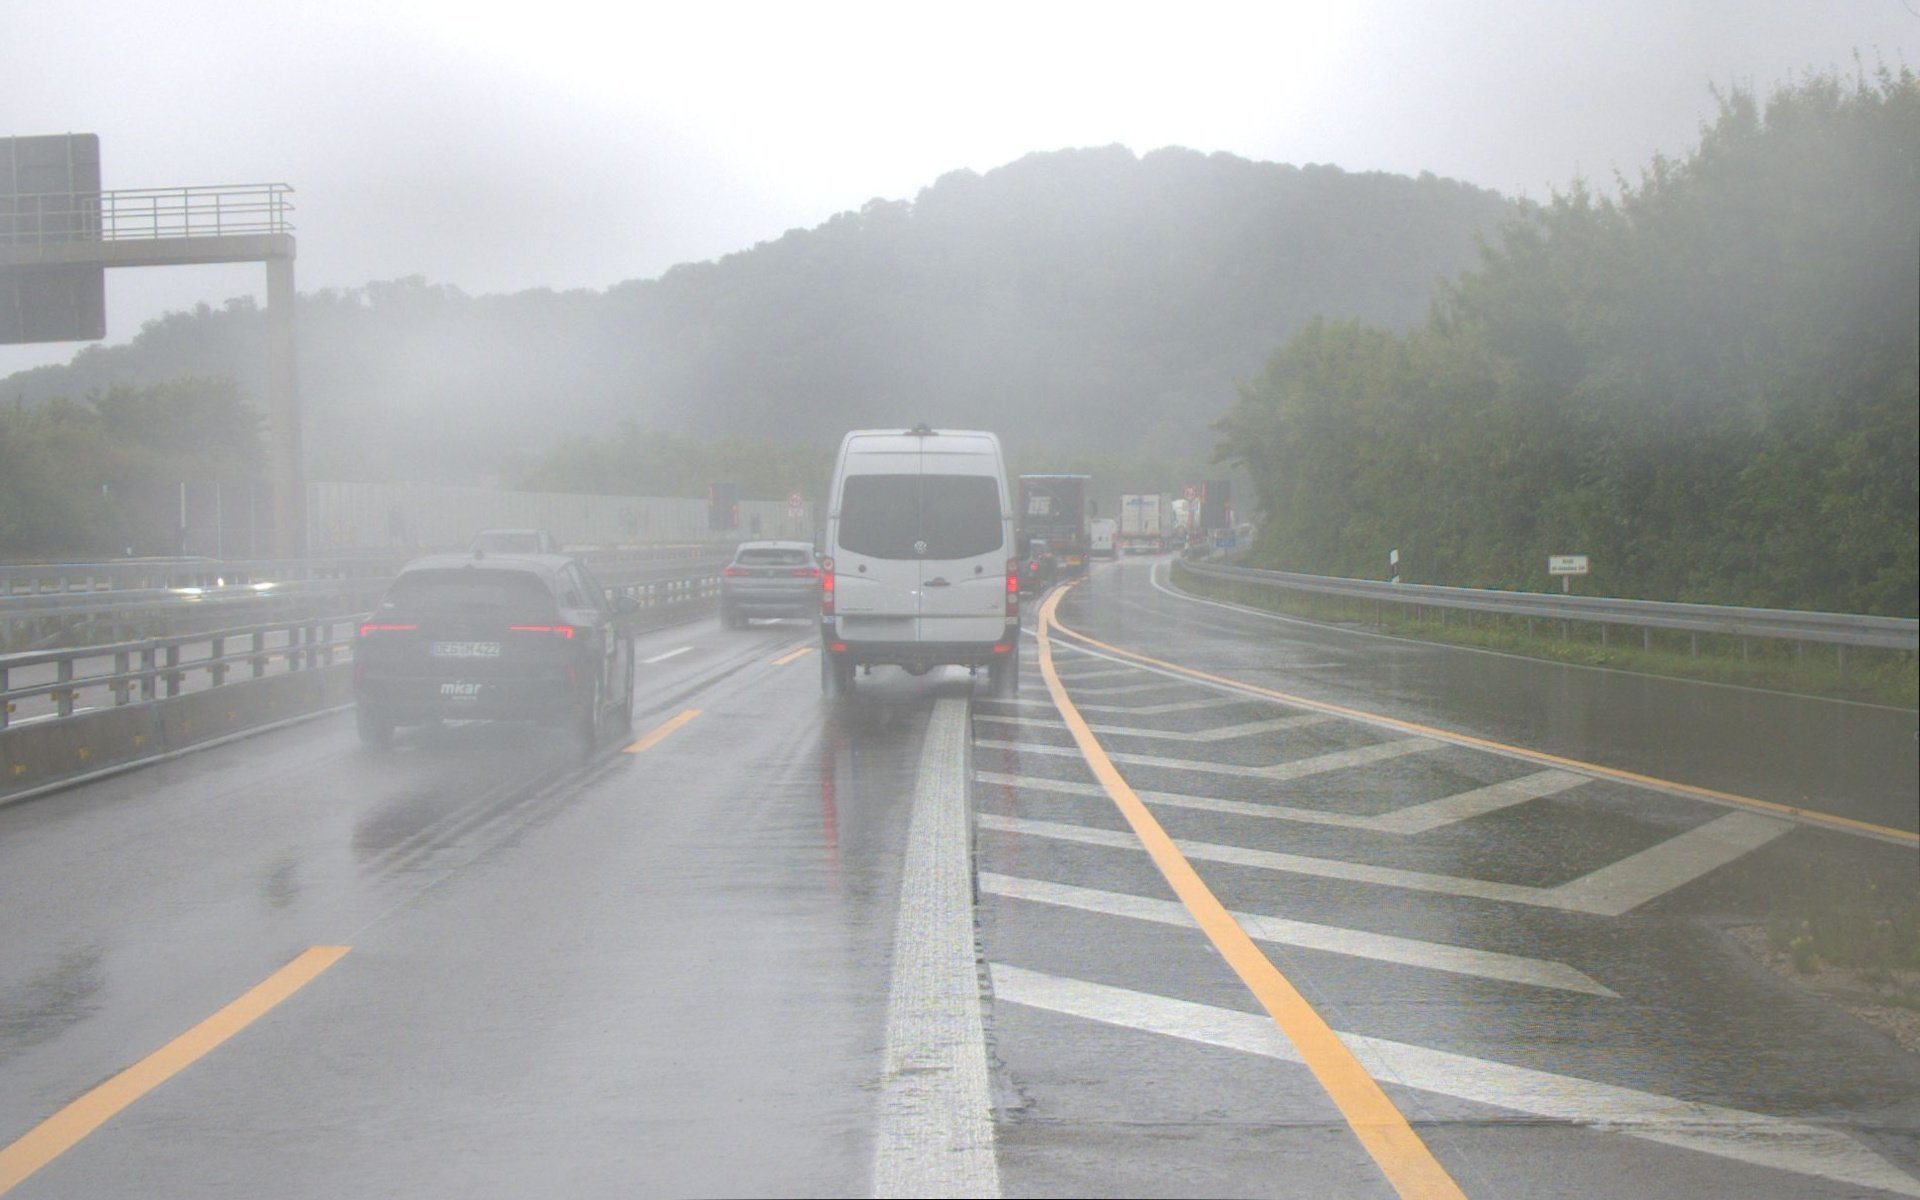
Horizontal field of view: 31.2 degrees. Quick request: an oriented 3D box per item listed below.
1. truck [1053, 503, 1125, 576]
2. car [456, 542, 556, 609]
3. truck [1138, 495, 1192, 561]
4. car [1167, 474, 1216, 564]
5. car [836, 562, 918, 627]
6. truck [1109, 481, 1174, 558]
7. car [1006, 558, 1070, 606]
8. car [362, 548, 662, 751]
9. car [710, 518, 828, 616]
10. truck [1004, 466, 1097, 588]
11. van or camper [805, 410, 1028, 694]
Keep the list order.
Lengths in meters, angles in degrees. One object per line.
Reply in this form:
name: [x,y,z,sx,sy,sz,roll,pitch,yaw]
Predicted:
truck: [6.925,-3.197,185.636,3.320,3.749,9.907,1,0,-1]
car: [-9.384,-0.514,71.278,1.631,1.346,3.655,0,0,-1]
truck: [15.699,-5.460,263.096,3.929,4.768,9.905,1,0,4]
car: [10.997,-3.817,163.581,2.058,4.177,6.746,0,1,2]
car: [-1.921,-0.147,80.398,1.852,1.495,4.000,0,1,0]
truck: [11.914,-5.204,224.856,3.929,4.768,9.905,1,0,4]
car: [2.040,-0.487,90.881,1.384,1.252,3.123,0,1,-5]
car: [-3.393,0.327,26.863,1.938,1.422,4.761,1,1,-3]
car: [-3.300,-0.580,60.080,1.867,1.653,3.988,0,1,0]
truck: [3.632,-2.904,140.665,3.320,4.768,9.907,1,0,-1]
van or camper: [-0.416,-0.484,35.308,2.139,2.712,4.648,0,1,0]
